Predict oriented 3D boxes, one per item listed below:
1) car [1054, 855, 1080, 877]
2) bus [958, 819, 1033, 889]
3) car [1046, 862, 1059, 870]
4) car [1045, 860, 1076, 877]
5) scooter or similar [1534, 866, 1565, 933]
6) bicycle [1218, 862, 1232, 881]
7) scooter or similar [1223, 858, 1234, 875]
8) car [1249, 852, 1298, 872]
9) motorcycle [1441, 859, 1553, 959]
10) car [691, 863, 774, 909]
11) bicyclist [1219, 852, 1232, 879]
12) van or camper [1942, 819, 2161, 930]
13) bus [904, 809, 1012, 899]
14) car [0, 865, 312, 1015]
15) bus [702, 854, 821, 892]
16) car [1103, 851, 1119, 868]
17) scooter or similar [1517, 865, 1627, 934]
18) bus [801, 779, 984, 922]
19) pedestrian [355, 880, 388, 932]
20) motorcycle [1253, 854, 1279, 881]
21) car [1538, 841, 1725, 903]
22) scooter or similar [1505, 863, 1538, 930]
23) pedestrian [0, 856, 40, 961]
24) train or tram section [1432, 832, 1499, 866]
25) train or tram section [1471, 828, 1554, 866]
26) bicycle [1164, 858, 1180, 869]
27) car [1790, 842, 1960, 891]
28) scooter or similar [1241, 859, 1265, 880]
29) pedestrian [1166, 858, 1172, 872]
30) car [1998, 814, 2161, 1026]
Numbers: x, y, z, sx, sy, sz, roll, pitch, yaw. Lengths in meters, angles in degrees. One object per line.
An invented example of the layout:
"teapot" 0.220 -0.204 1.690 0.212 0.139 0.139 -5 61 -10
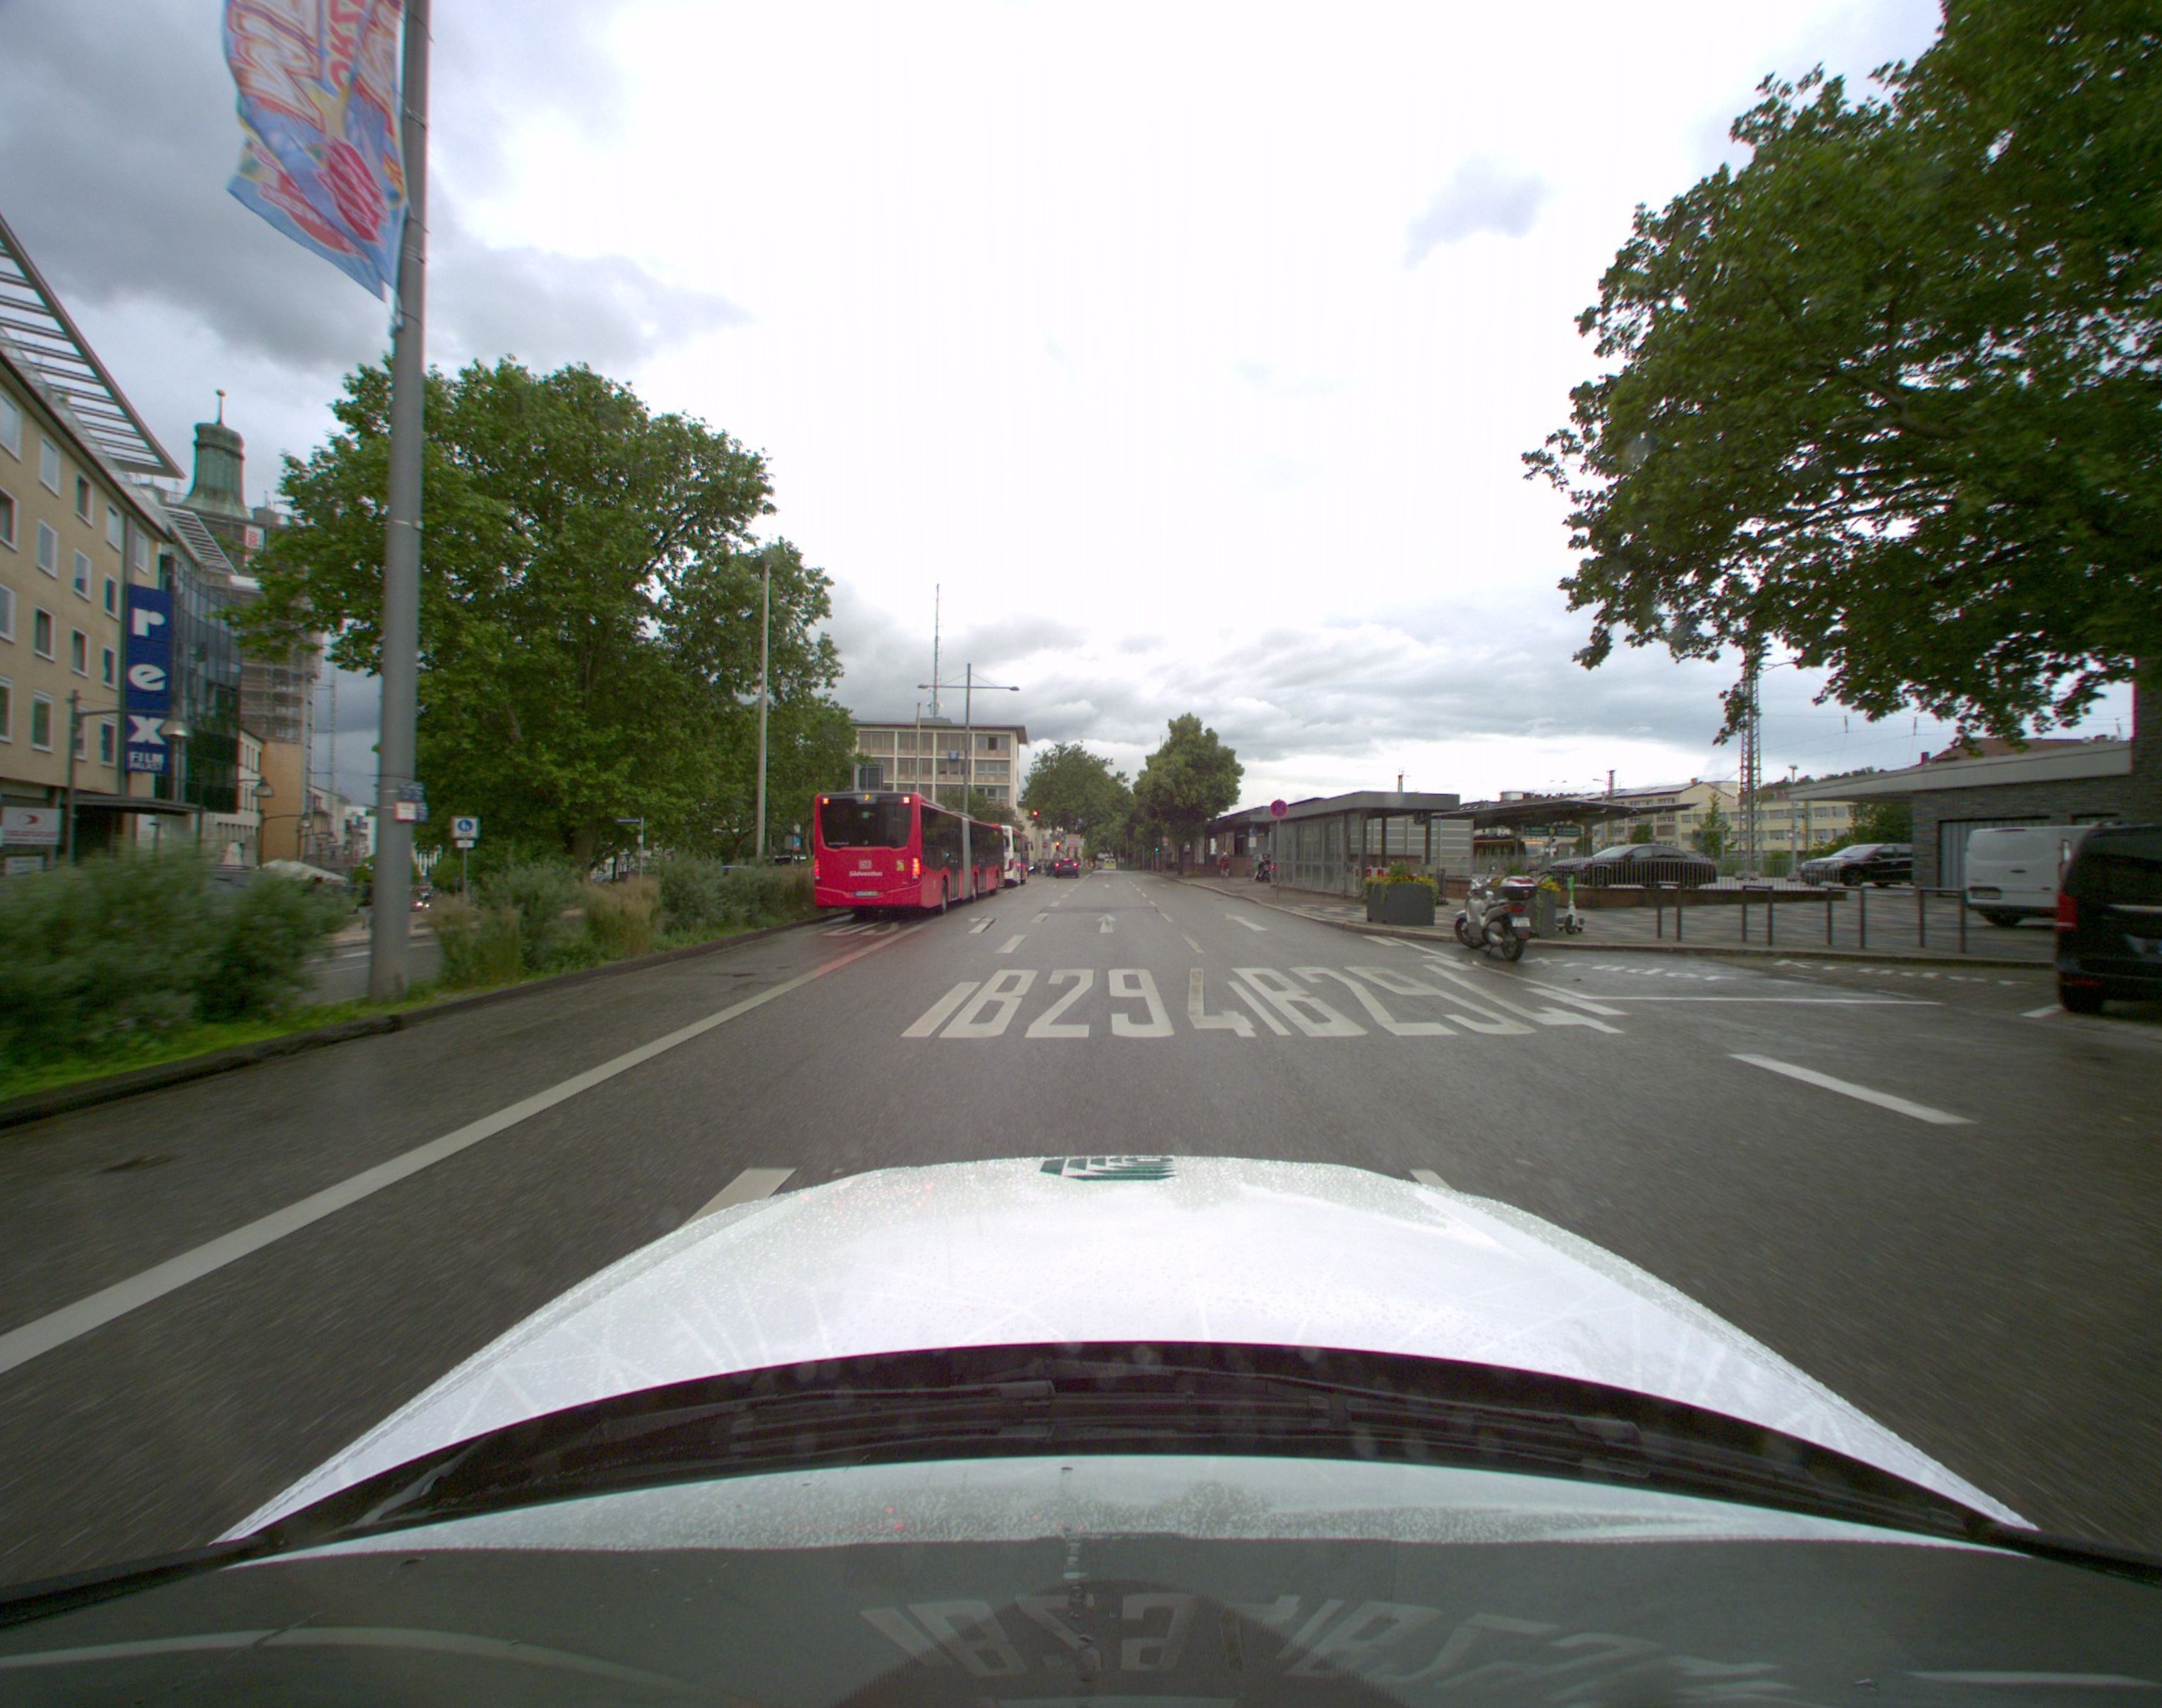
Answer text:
"car" -1.084 0.943 65.375 1.958 1.640 4.357 -1 -1 0
"bus" -4.604 0.027 46.831 2.946 3.439 12.557 0 0 0
"car" -4.707 1.987 135.590 1.684 1.298 4.096 1 -1 3
"car" -1.865 1.275 72.436 1.819 1.409 4.391 0 -1 -15
"scooter or similar" 8.488 0.802 14.752 0.409 1.155 1.271 2 0 32
"bicycle" 8.243 0.989 46.623 0.445 1.016 1.677 -3 -1 -1
"scooter or similar" 10.536 0.893 58.085 0.491 1.153 1.544 0 -1 -1
"car" 15.291 0.655 64.806 3.540 1.542 1.750 -1 0 6
"motorcycle" 6.139 0.755 12.167 0.640 1.352 2.110 -1 0 2
"car" -13.000 1.140 30.642 1.789 1.579 4.137 -1 0 -7
"bicyclist" 8.247 0.665 46.585 0.532 1.538 0.694 -2 -1 -2
"van or camper" 20.026 0.360 15.922 4.265 1.990 2.020 -1 0 -1
"bus" -4.685 0.003 32.952 2.742 3.132 8.846 0 0 2
"car" -12.538 0.959 9.985 1.786 1.579 4.736 -1 0 -2
"bus" -31.040 1.866 79.042 11.830 3.019 2.904 -4 -2 22
"car" 4.840 0.829 131.741 2.257 2.656 3.999 0 0 -1
"scooter or similar" 9.094 0.814 15.174 1.061 1.155 1.668 2 0 2
"bus" -4.904 -0.077 23.571 2.800 3.245 9.914 0 0 1
"pedestrian" -28.247 2.047 32.415 0.933 2.014 0.952 0 -1 -45
"motorcycle" 9.745 0.699 43.000 0.789 1.348 2.456 0 0 -1
"car" 17.595 0.550 26.173 4.674 1.874 2.107 -1 0 -3
"scooter or similar" 8.115 0.765 14.986 0.409 1.155 1.271 2 0 32
"pedestrian" -16.194 0.803 12.017 0.690 1.529 0.725 -1 0 -11
"train or tram section" 40.179 -0.447 85.572 2.645 3.282 9.132 -1 -1 0
"train or tram section" 40.180 -0.525 76.266 2.645 3.282 9.518 -1 -1 0
"bicycle" 10.230 1.057 91.629 1.703 1.249 0.489 -1 -1 32
"car" 31.749 0.491 32.684 4.664 1.874 2.111 -1 0 3
"scooter or similar" 9.531 0.839 45.219 0.494 1.153 1.704 0 -1 -19
"pedestrian" 9.851 1.265 91.326 0.452 1.569 0.396 -2 -1 33
"car" 11.648 0.561 8.257 4.712 1.874 2.090 -1 0 -28
